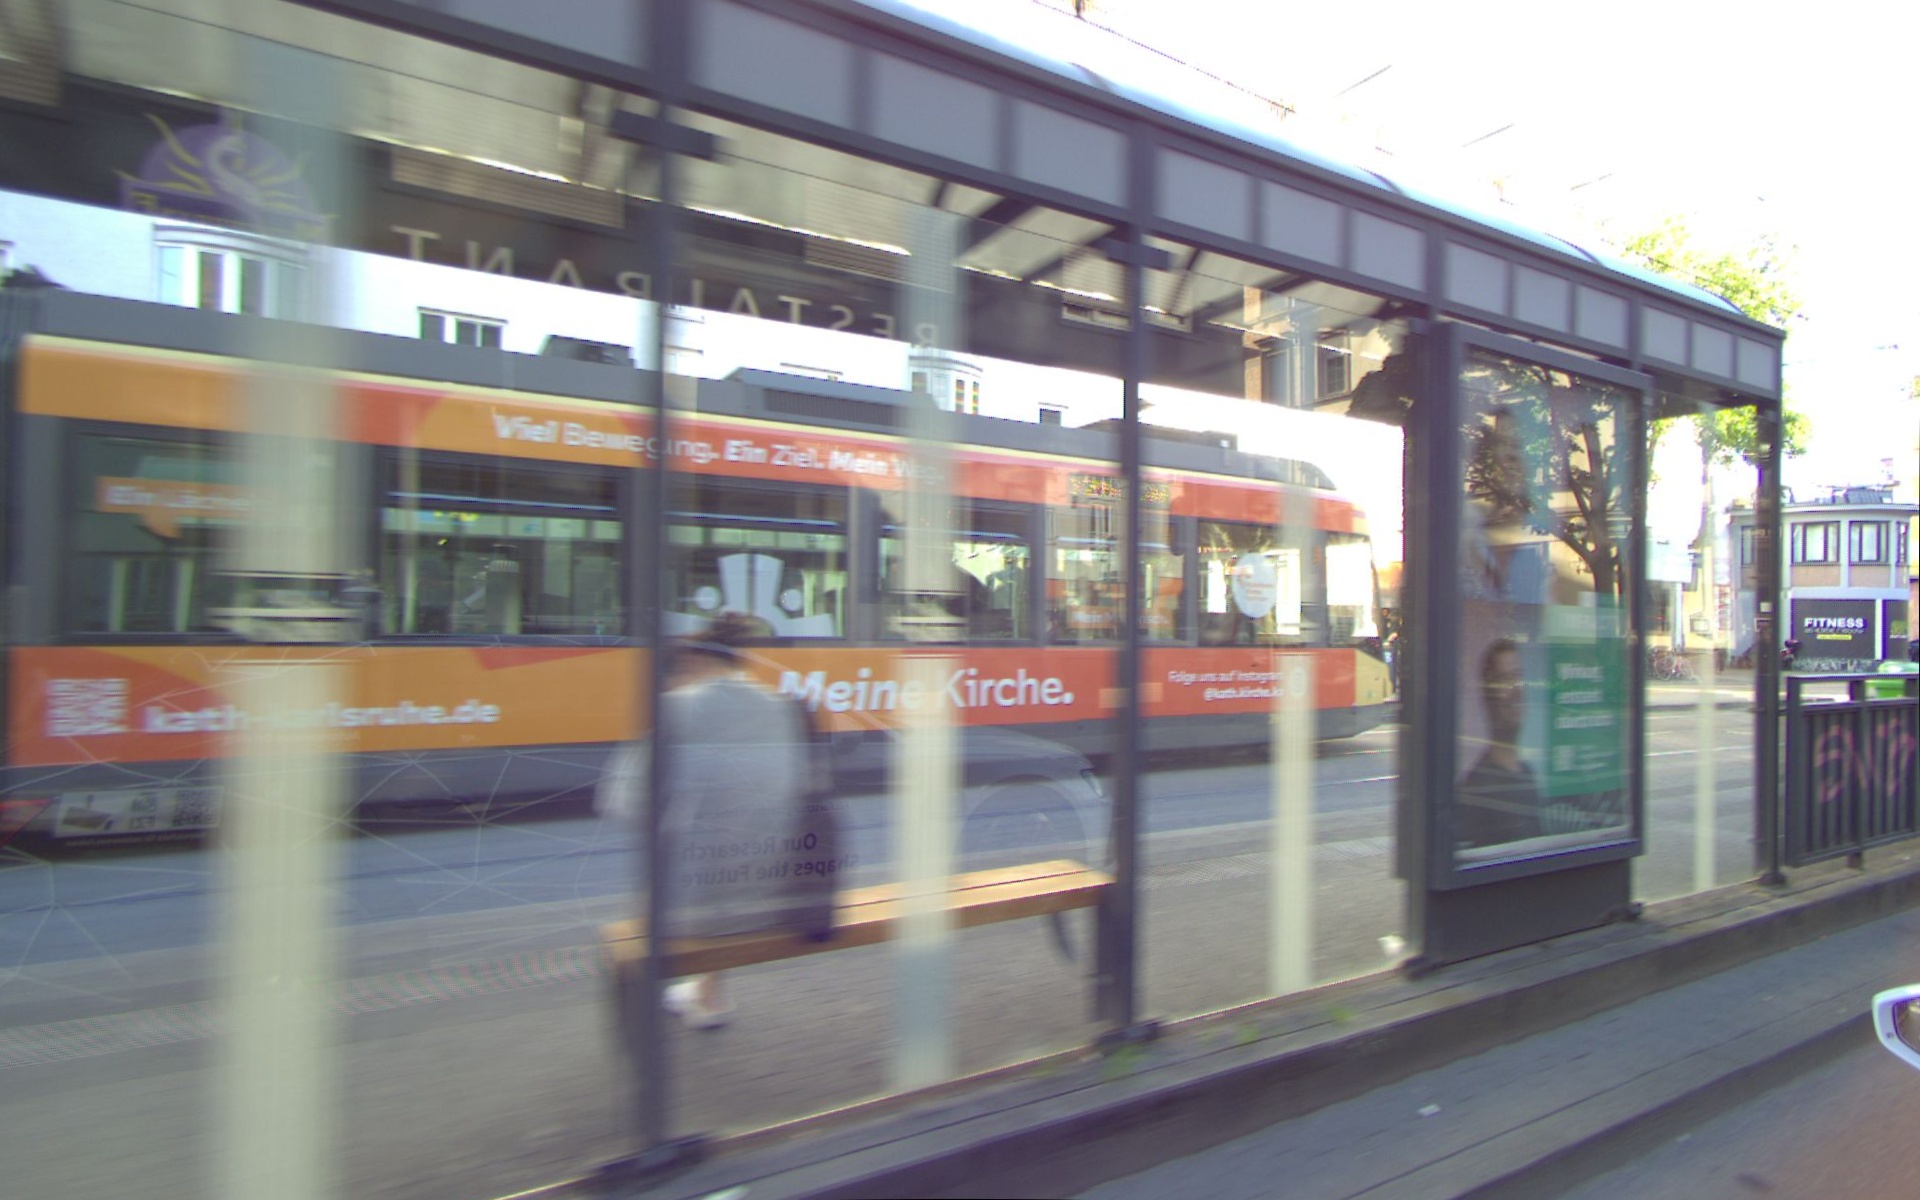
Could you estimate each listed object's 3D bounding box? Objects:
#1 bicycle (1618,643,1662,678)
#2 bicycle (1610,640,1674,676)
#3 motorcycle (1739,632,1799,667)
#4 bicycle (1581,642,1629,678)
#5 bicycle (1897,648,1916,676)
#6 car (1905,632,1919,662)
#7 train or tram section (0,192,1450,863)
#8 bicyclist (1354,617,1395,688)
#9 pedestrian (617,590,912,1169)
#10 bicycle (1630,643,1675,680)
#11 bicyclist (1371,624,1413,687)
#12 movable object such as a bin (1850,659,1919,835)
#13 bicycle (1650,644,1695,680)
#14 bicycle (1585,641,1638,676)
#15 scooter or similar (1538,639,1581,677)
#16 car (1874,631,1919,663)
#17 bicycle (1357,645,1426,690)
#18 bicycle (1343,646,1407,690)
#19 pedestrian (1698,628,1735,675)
[{"bbox_3d":[22.885,2.023,33.800,1.779,1.122,0.496,1,2,-30],"label":"bicycle"},{"bbox_3d":[23.678,2.012,34.894,1.763,1.122,0.500,2,2,10],"label":"bicycle"},{"bbox_3d":[33.386,2.020,41.462,0.600,1.315,1.781,1,1,-36],"label":"motorcycle"},{"bbox_3d":[21.356,1.982,33.280,1.247,1.122,0.500,1,2,-3],"label":"bicycle"},{"bbox_3d":[40.200,2.627,42.656,1.787,1.122,0.494,2,-1,-43],"label":"bicycle"},{"bbox_3d":[50.352,2.391,50.367,1.778,1.530,3.969,1,-1,-29],"label":"car"},{"bbox_3d":[-1.403,-0.219,9.154,14.777,3.536,2.871,2,0,-31],"label":"train or tram section"},{"bbox_3d":[11.193,1.406,27.119,0.835,1.860,0.652,1,-2,-30],"label":"bicyclist"},{"bbox_3d":[-0.511,0.588,2.511,0.530,1.191,0.682,1,-1,-29],"label":"pedestrian"},{"bbox_3d":[23.001,2.032,33.372,1.779,1.122,0.496,1,2,-30],"label":"bicycle"},{"bbox_3d":[11.147,1.425,25.920,0.711,1.589,0.726,1,-2,-30],"label":"bicyclist"},{"bbox_3d":[5.489,0.831,5.827,0.524,0.957,0.350,1,-1,-32],"label":"movable object such as a bin"},{"bbox_3d":[23.652,2.056,33.343,1.779,1.122,0.496,1,2,-30],"label":"bicycle"},{"bbox_3d":[22.189,1.988,34.187,1.772,1.122,0.498,1,2,-19],"label":"bicycle"},{"bbox_3d":[19.892,1.903,33.344,1.252,1.209,0.498,0,2,-19],"label":"scooter or similar"},{"bbox_3d":[47.929,2.338,49.252,1.778,1.530,4.300,1,-1,-29],"label":"car"},{"bbox_3d":[11.125,1.726,25.907,1.779,1.122,0.726,1,-2,-30],"label":"bicycle"},{"bbox_3d":[11.201,1.819,27.114,1.779,1.122,0.652,1,-2,-30],"label":"bicycle"},{"bbox_3d":[28.521,1.936,37.876,1.000,1.683,0.918,2,1,34],"label":"pedestrian"}]
